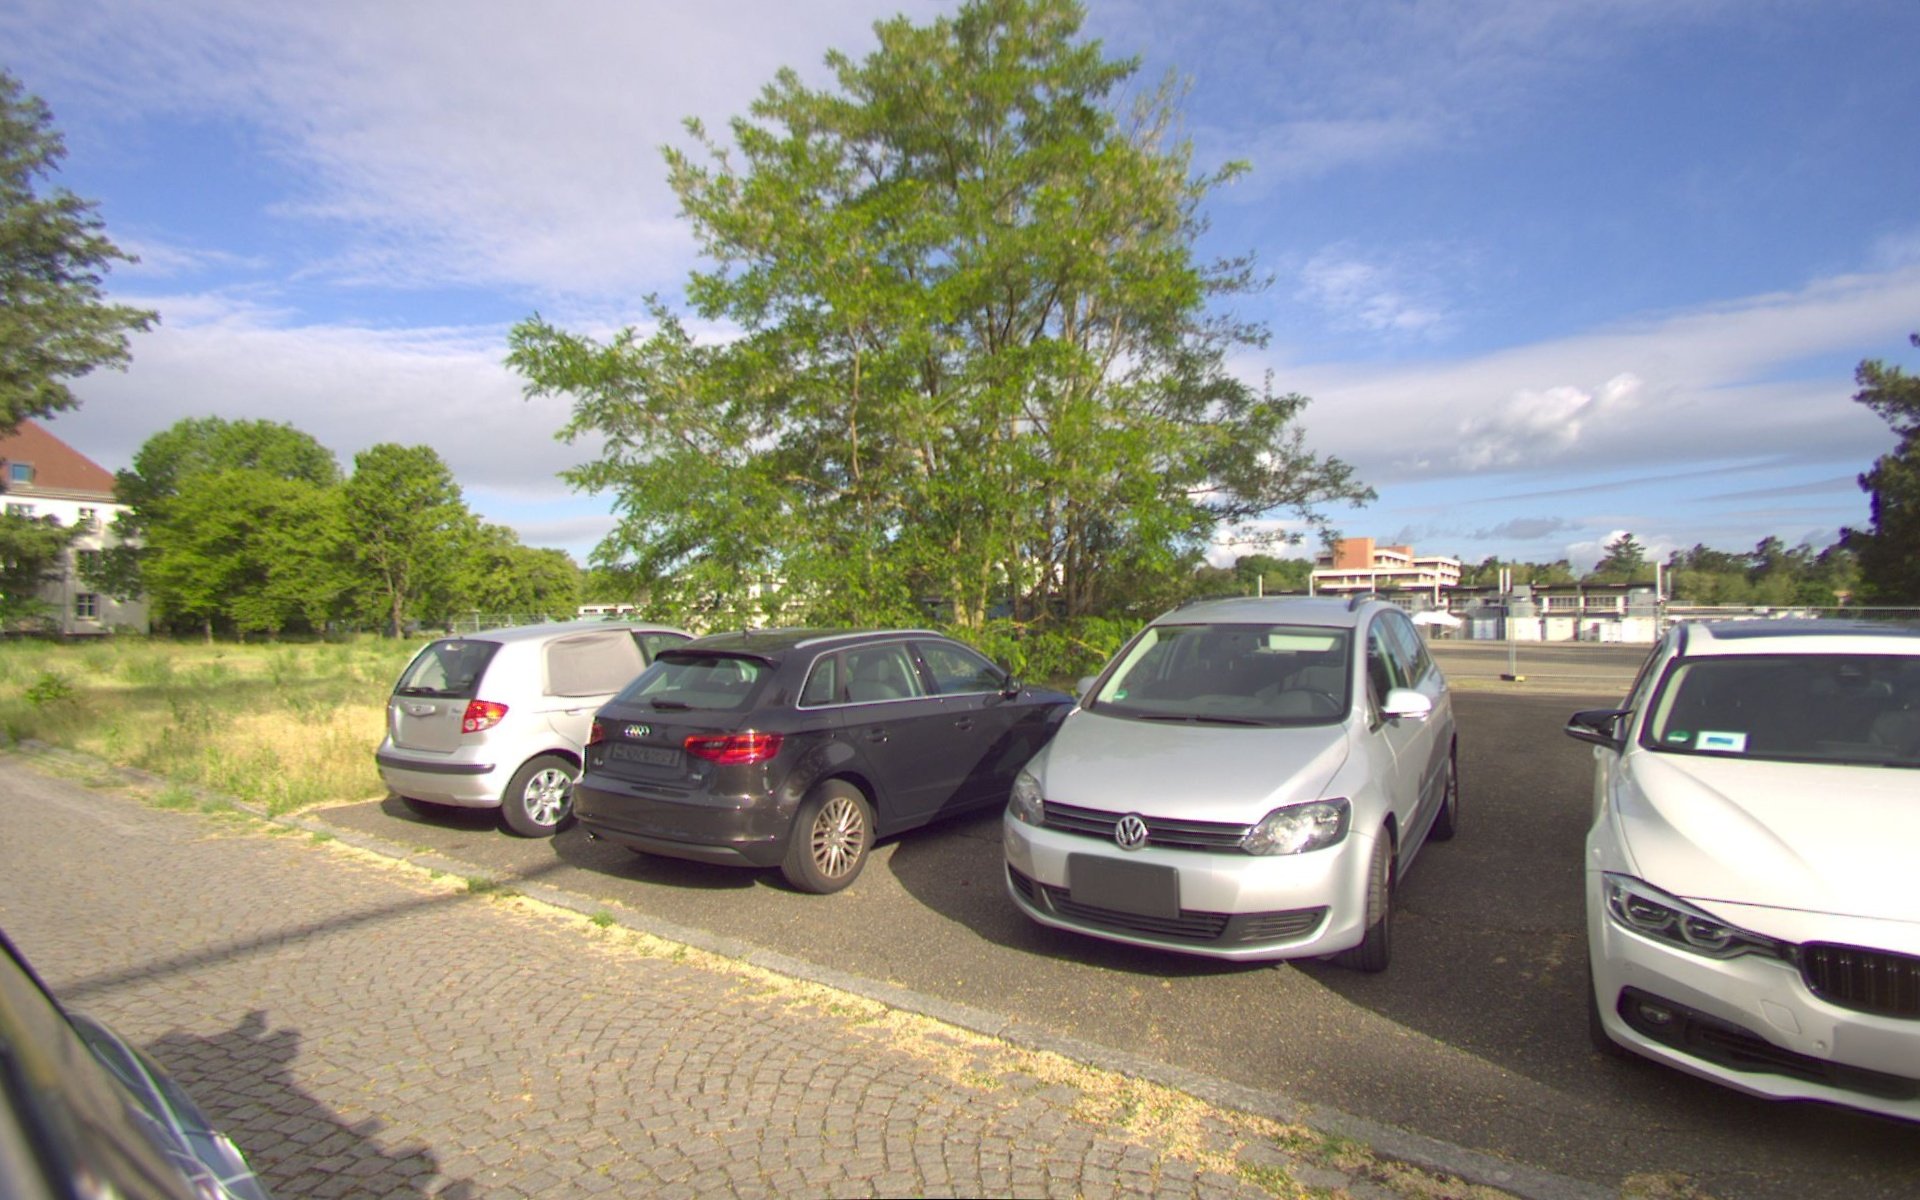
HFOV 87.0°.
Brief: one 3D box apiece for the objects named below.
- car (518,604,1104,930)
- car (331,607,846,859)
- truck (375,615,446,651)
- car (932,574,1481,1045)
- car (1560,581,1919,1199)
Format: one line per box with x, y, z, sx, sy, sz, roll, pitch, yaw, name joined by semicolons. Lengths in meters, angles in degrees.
-0.730;0.812;6.930;1.855;1.440;3.795;-1;1;35;car
-2.870;0.865;8.492;1.845;1.484;3.652;-1;1;35;car
-42.430;2.551;78.054;6.951;2.607;2.388;-2;-2;39;truck
1.742;0.693;5.757;1.853;1.611;4.091;-1;1;32;car
3.825;0.711;4.304;1.898;1.466;4.550;-3;0;34;car
